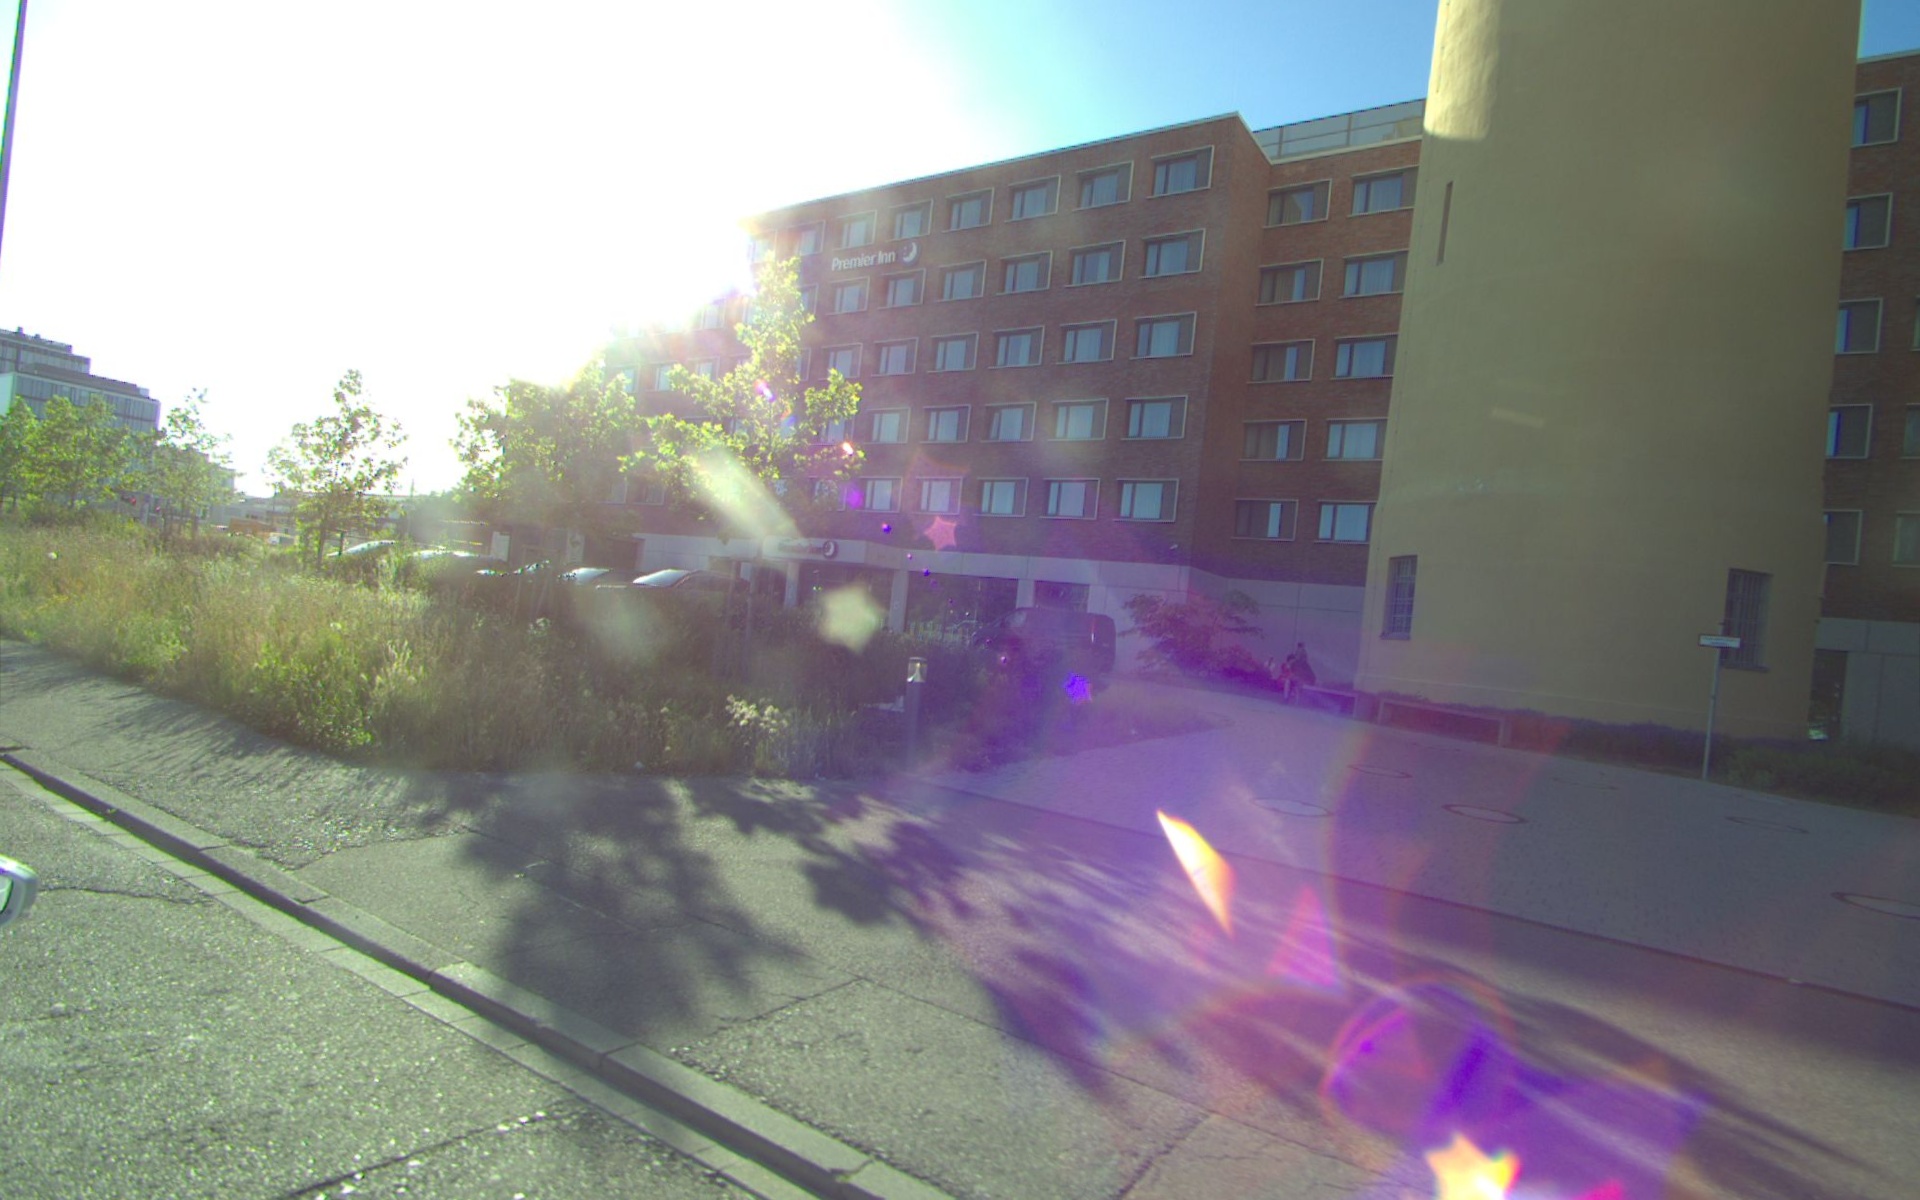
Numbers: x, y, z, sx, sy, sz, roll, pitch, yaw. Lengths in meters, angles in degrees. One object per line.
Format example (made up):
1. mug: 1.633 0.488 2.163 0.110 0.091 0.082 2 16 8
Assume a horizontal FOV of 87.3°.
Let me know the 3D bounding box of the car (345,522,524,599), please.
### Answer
1. car: -15.434 -1.117 29.749 1.823 1.598 4.188 6 -2 35

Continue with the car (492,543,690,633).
1. car: -8.996 -0.251 24.839 1.823 1.598 4.188 6 -2 35

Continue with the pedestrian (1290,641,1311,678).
1. pedestrian: 11.136 1.934 32.890 0.524 1.154 0.342 5 -2 28

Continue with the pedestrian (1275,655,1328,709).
1. pedestrian: 8.062 1.930 23.766 0.747 1.150 0.813 5 0 -23

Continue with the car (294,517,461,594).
1. car: -18.072 -1.341 31.363 1.823 1.725 3.991 6 -2 35

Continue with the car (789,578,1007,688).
1. car: -1.065 0.702 19.311 1.823 1.598 4.188 6 -2 35

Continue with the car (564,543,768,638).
1. car: -6.699 -0.163 23.314 1.823 1.598 4.188 6 -2 35

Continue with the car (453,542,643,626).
1. car: -10.767 -0.371 26.540 1.823 1.598 4.188 6 -2 35

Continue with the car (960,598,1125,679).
1. car: 2.592 1.213 32.121 4.716 1.958 1.974 6 -2 33
